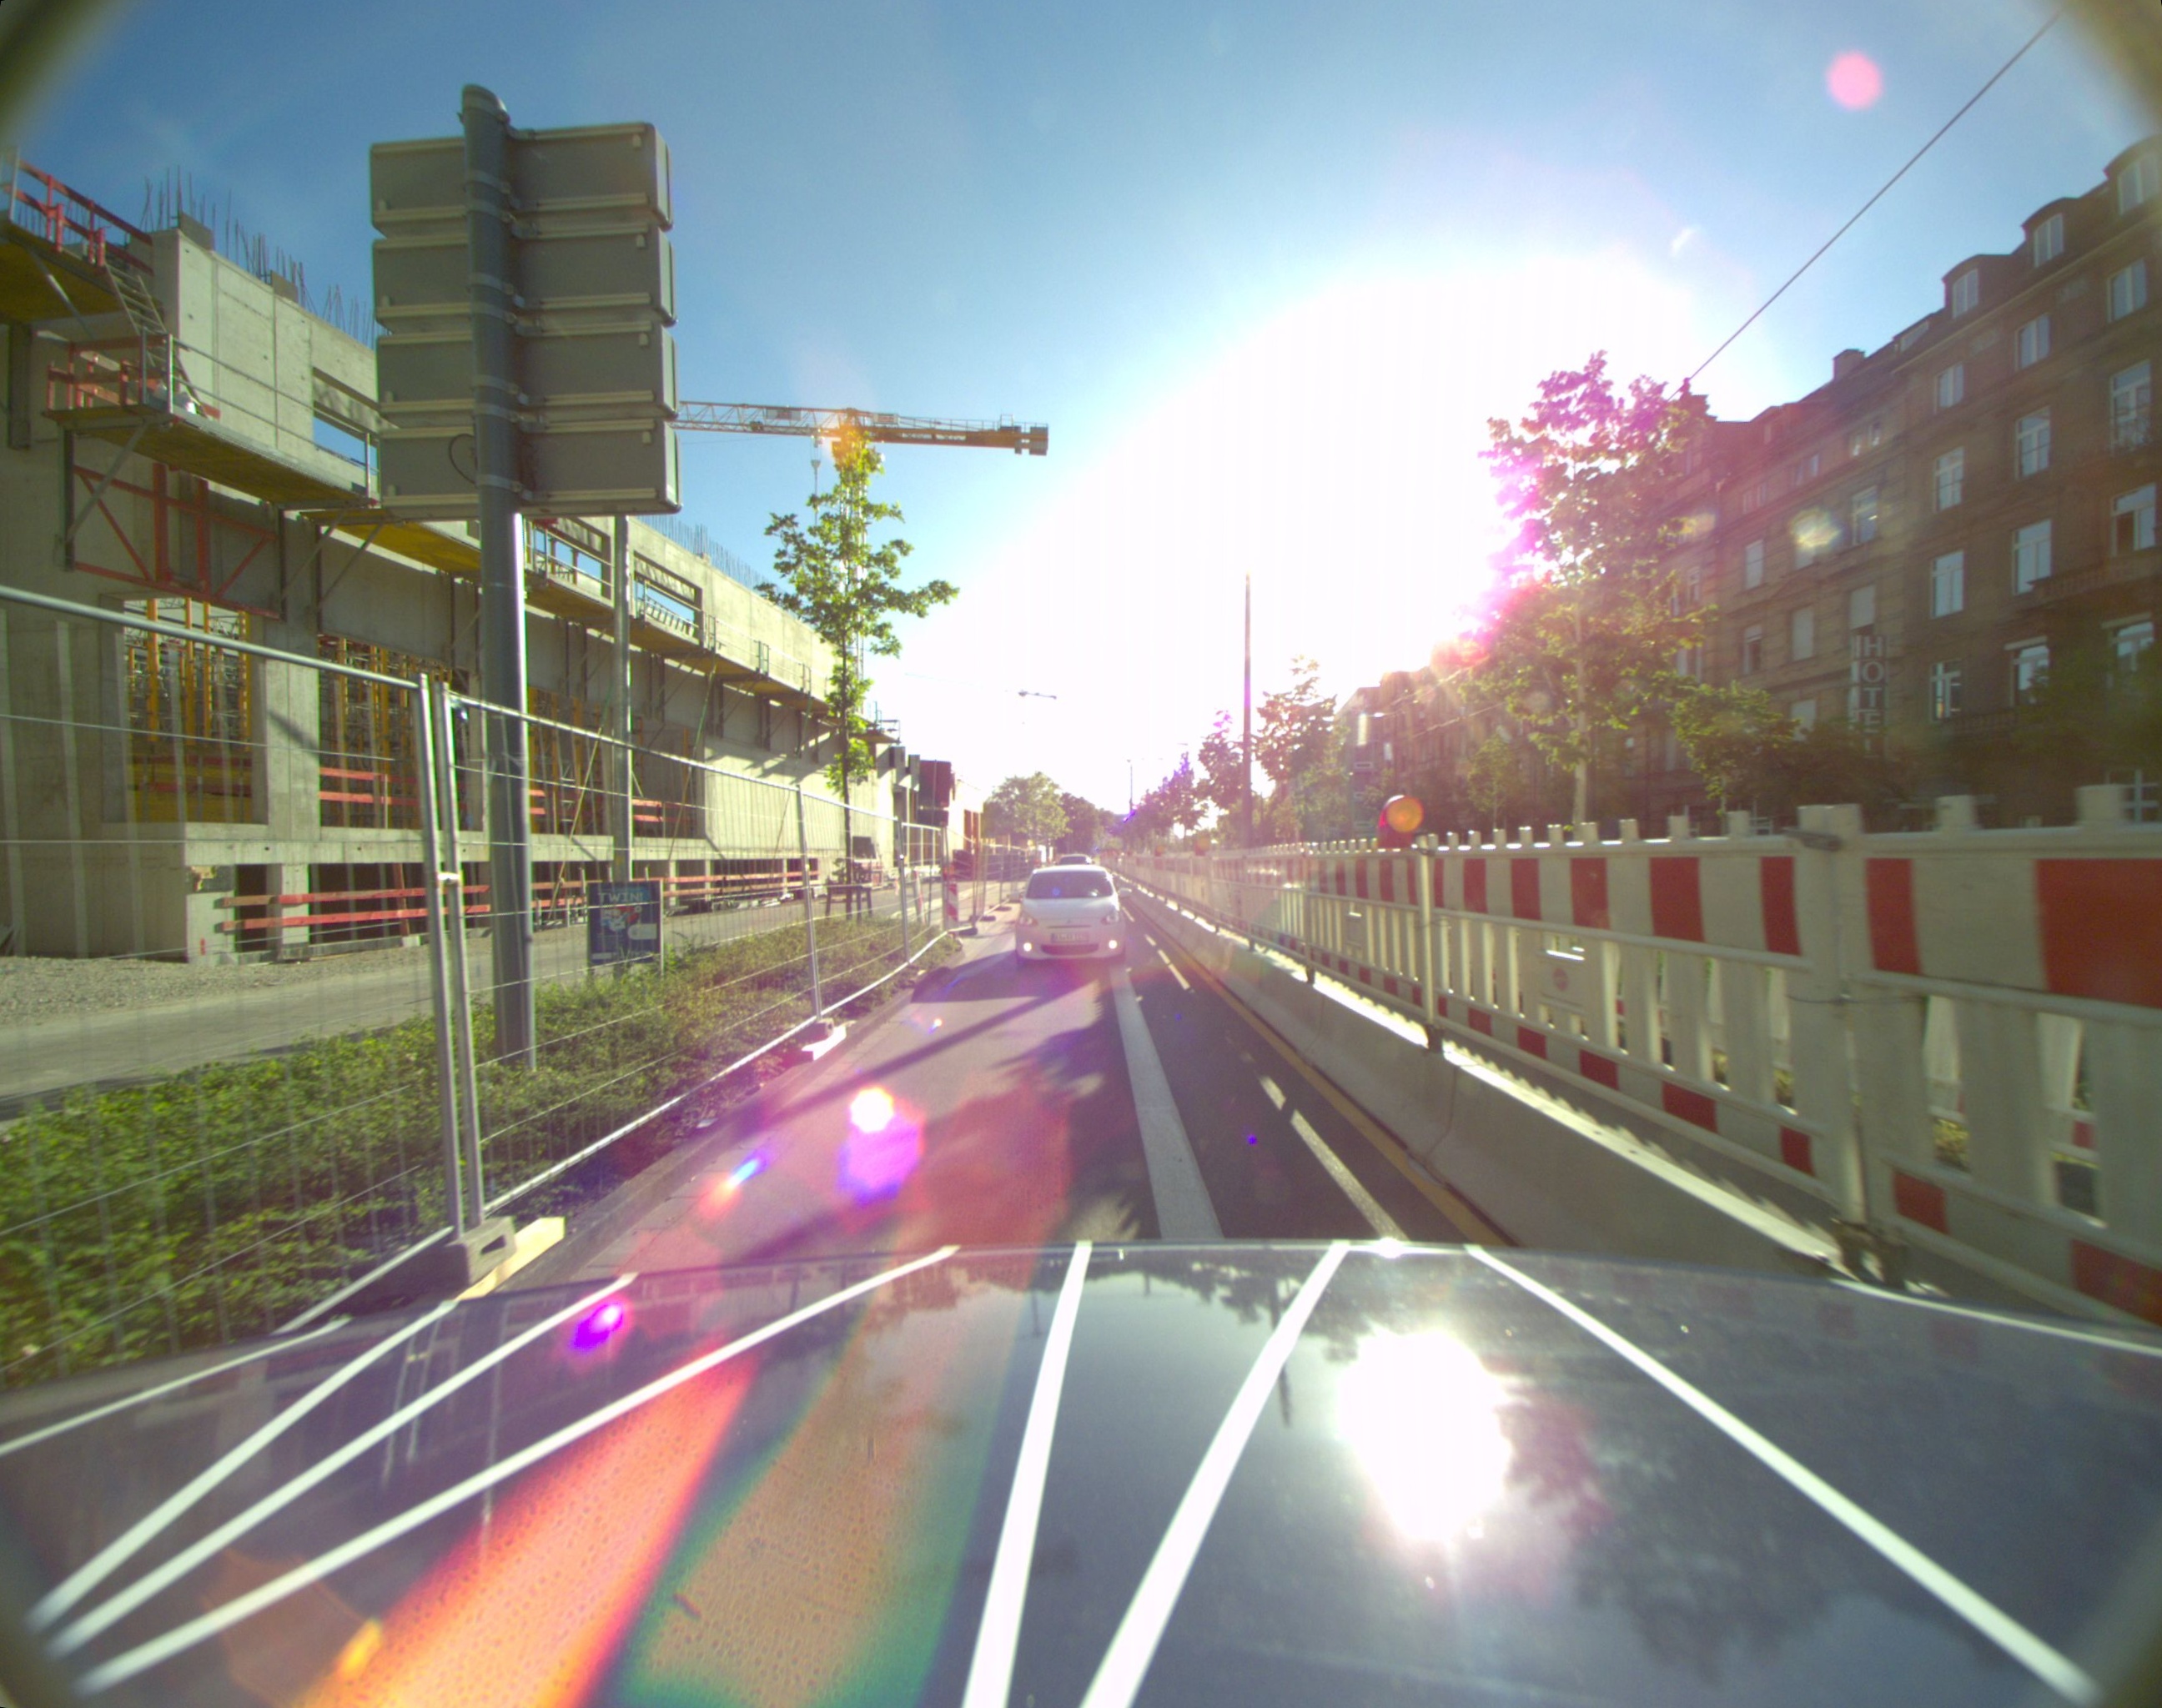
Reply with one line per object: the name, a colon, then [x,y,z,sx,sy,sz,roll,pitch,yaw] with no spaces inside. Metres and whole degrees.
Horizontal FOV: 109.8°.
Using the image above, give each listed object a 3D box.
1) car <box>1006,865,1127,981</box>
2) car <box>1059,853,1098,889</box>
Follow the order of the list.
car: [-0.179,1.001,12.811,1.634,1.499,4.350,-2,0,1]
car: [-0.137,0.838,39.242,1.900,1.730,3.999,0,1,0]
